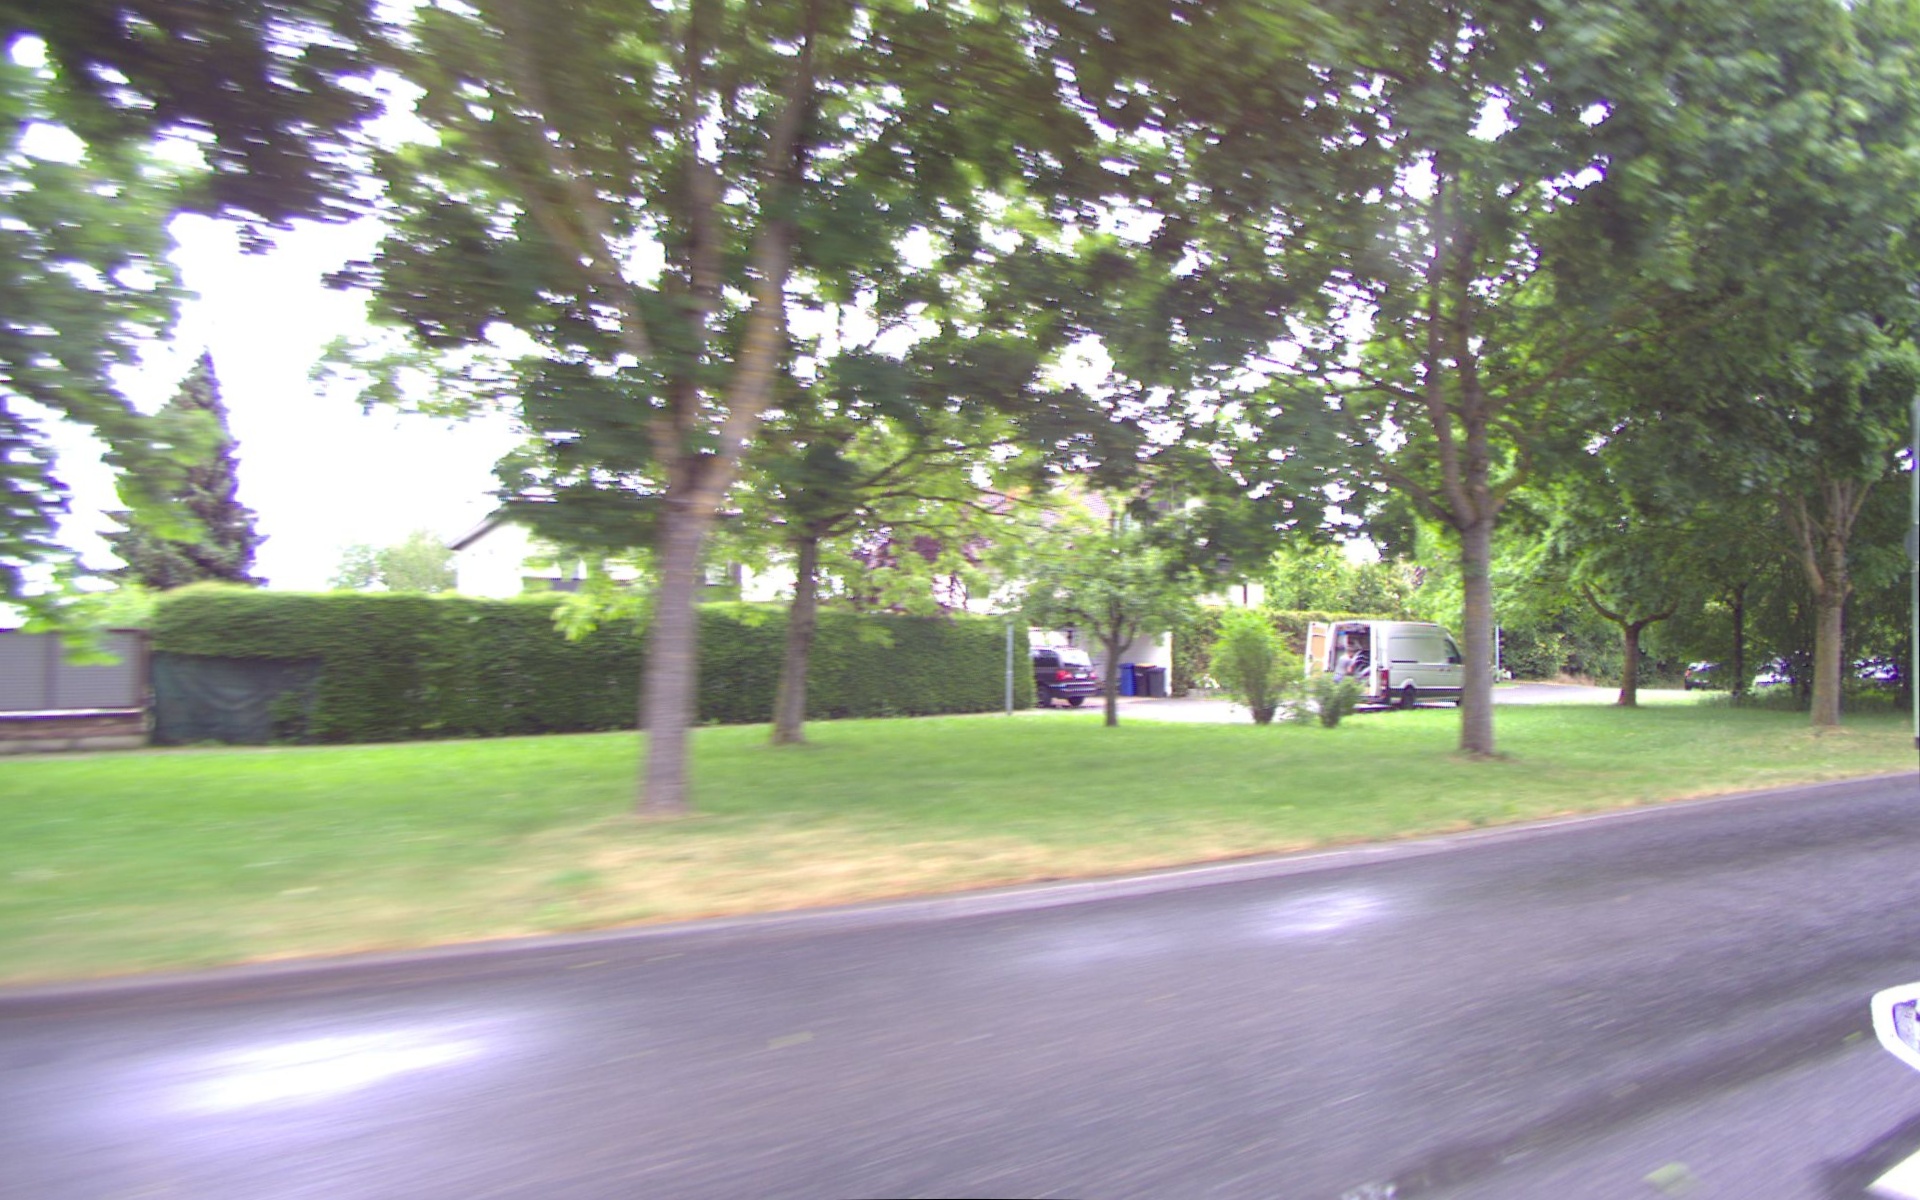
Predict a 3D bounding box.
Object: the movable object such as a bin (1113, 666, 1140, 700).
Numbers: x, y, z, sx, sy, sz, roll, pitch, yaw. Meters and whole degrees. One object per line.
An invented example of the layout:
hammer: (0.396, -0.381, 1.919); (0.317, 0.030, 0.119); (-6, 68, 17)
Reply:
movable object such as a bin: (5.473, 2.720, 33.044); (0.545, 1.072, 0.650); (0, -1, -40)

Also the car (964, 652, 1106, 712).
car: (2.167, 2.355, 29.605); (1.891, 1.614, 3.948); (3, -4, -44)

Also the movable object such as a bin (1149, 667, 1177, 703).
movable object such as a bin: (6.466, 2.692, 31.987); (0.545, 1.072, 0.650); (0, -1, -40)

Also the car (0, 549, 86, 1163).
car: (-4.203, 0.606, 1.405); (4.116, 1.618, 1.704); (2, -1, -26)

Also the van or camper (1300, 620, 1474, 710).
van or camper: (12.514, 1.869, 29.193); (6.103, 2.366, 2.073); (3, -4, -40)

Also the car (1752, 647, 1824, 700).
car: (30.268, 2.719, 36.758); (1.881, 1.792, 4.878); (-2, -6, 39)

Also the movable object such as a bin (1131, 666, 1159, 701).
movable object such as a bin: (6.002, 2.702, 32.522); (0.545, 1.072, 0.702); (0, -1, -40)

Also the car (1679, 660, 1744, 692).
car: (36.416, 3.647, 48.656); (4.188, 1.429, 1.817); (3, -4, -43)

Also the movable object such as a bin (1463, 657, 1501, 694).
movable object such as a bin: (22.639, 3.267, 43.562); (1.159, 1.486, 1.075); (3, -1, -39)

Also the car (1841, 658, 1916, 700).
car: (39.516, 3.350, 43.319); (1.838, 1.528, 4.590); (-1, -1, 36)

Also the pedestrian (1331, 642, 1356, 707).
pedestrian: (10.677, 2.068, 27.969); (0.397, 1.806, 0.480); (3, -3, -39)
